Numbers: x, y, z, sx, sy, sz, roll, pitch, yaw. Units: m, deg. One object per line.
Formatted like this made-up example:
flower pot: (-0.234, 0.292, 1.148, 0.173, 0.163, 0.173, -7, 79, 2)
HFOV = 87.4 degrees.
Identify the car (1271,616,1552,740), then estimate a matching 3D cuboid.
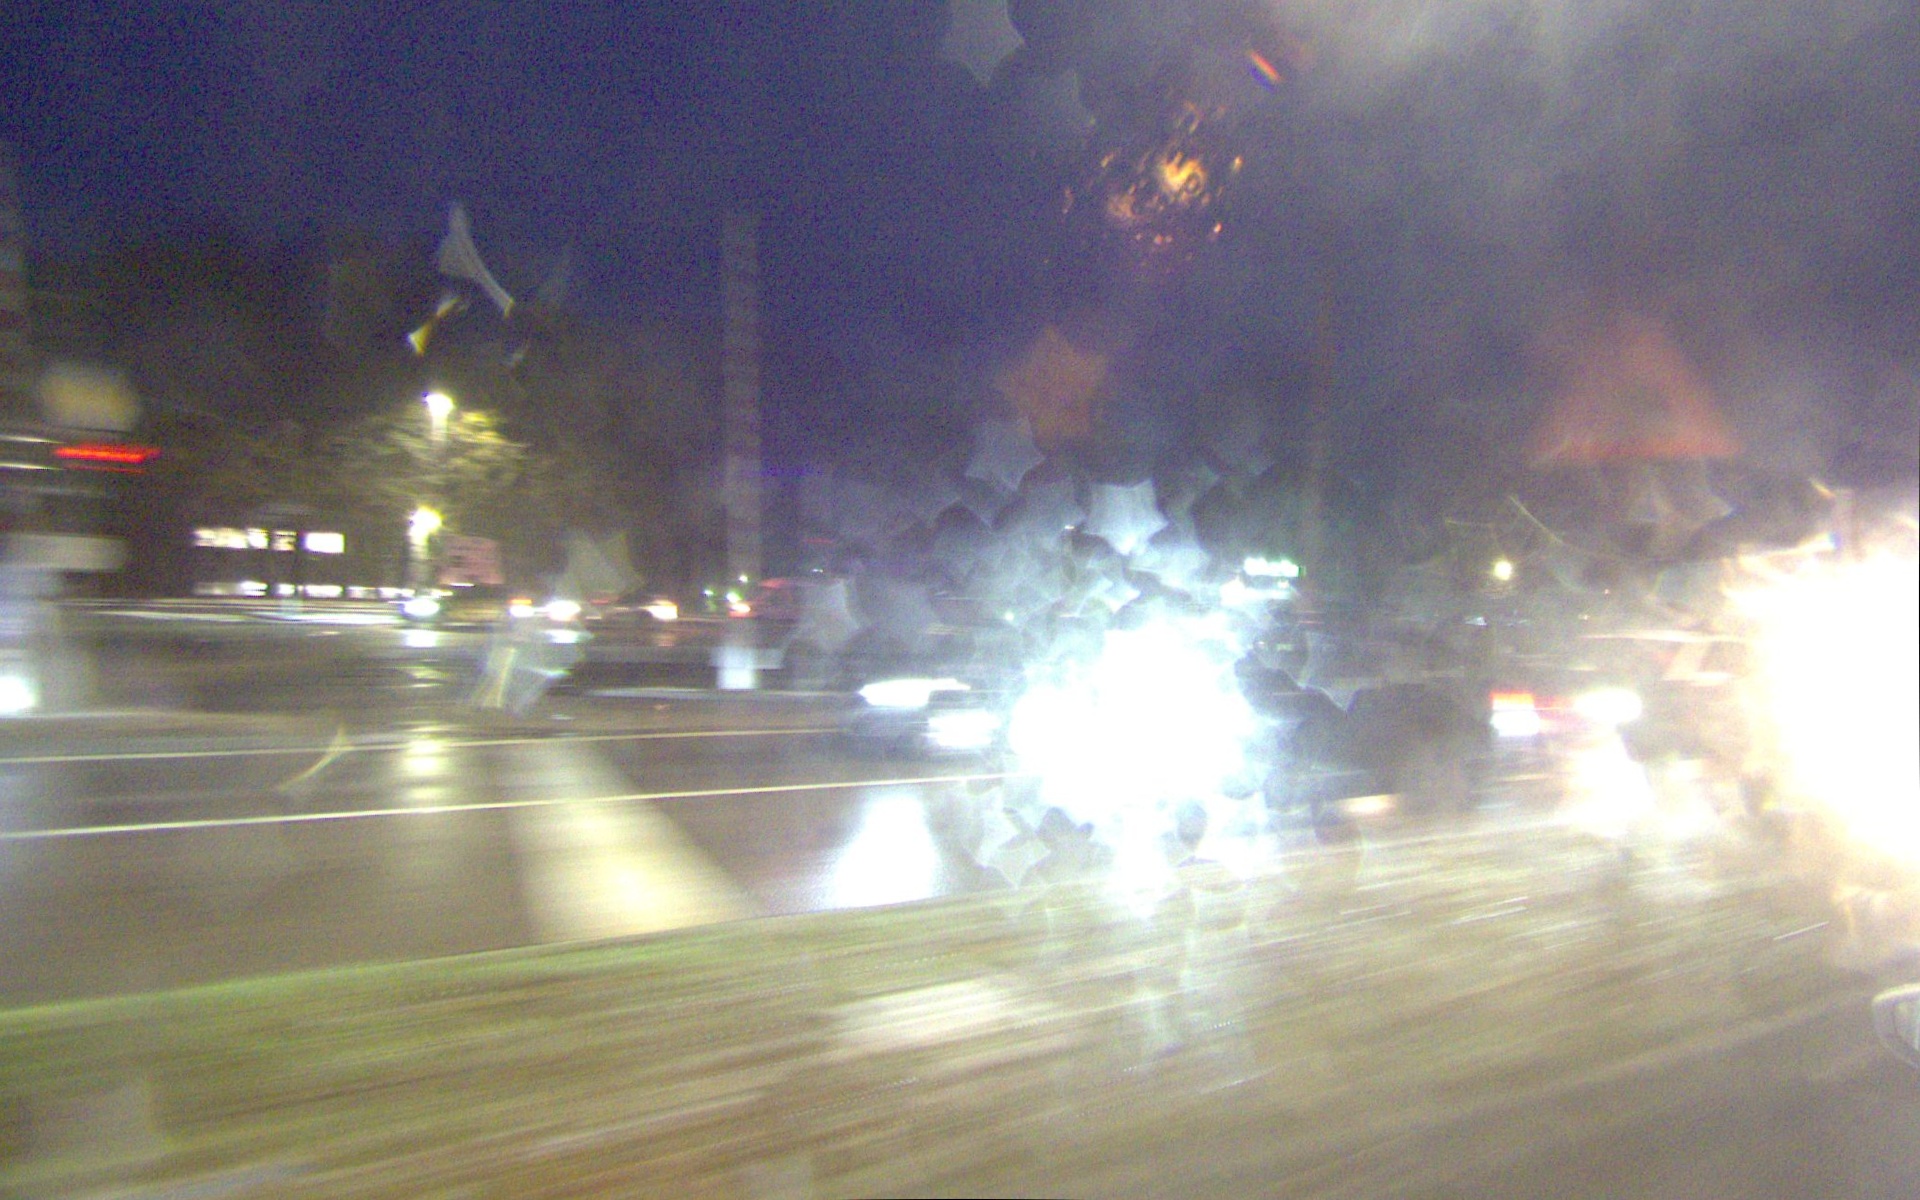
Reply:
car: (6.362, 1.047, 14.135, 3.558, 1.472, 1.814, 2, 0, -29)

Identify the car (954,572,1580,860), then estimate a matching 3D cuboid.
car: (2.603, 0.775, 8.112, 4.954, 1.720, 1.984, 3, 0, -30)

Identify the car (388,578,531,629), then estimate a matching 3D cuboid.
car: (-17.227, 0.127, 34.746, 1.965, 1.613, 3.991, 2, 0, 31)

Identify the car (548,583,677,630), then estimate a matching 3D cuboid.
car: (-13.536, 0.264, 39.220, 4.411, 1.715, 1.831, 2, 0, -39)

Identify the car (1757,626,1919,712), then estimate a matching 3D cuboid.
car: (18.563, 1.383, 20.696, 3.639, 1.549, 1.959, 2, 0, -26)

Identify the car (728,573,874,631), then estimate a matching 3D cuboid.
car: (-6.880, 0.100, 43.753, 5.946, 2.338, 1.985, 2, 0, -28)

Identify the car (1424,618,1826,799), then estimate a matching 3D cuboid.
car: (7.435, 1.096, 11.145, 4.415, 1.591, 1.947, 3, 0, -30)

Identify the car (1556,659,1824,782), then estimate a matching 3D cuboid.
car: (12.706, 1.973, 17.464, 4.441, 1.770, 1.986, 2, 0, -27)

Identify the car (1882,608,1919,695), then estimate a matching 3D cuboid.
car: (25.009, 1.289, 24.531, 4.933, 2.040, 2.145, 2, 0, -28)

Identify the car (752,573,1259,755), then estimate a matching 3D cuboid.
car: (0.562, 0.608, 11.027, 5.098, 1.577, 2.347, 2, 0, -30)
